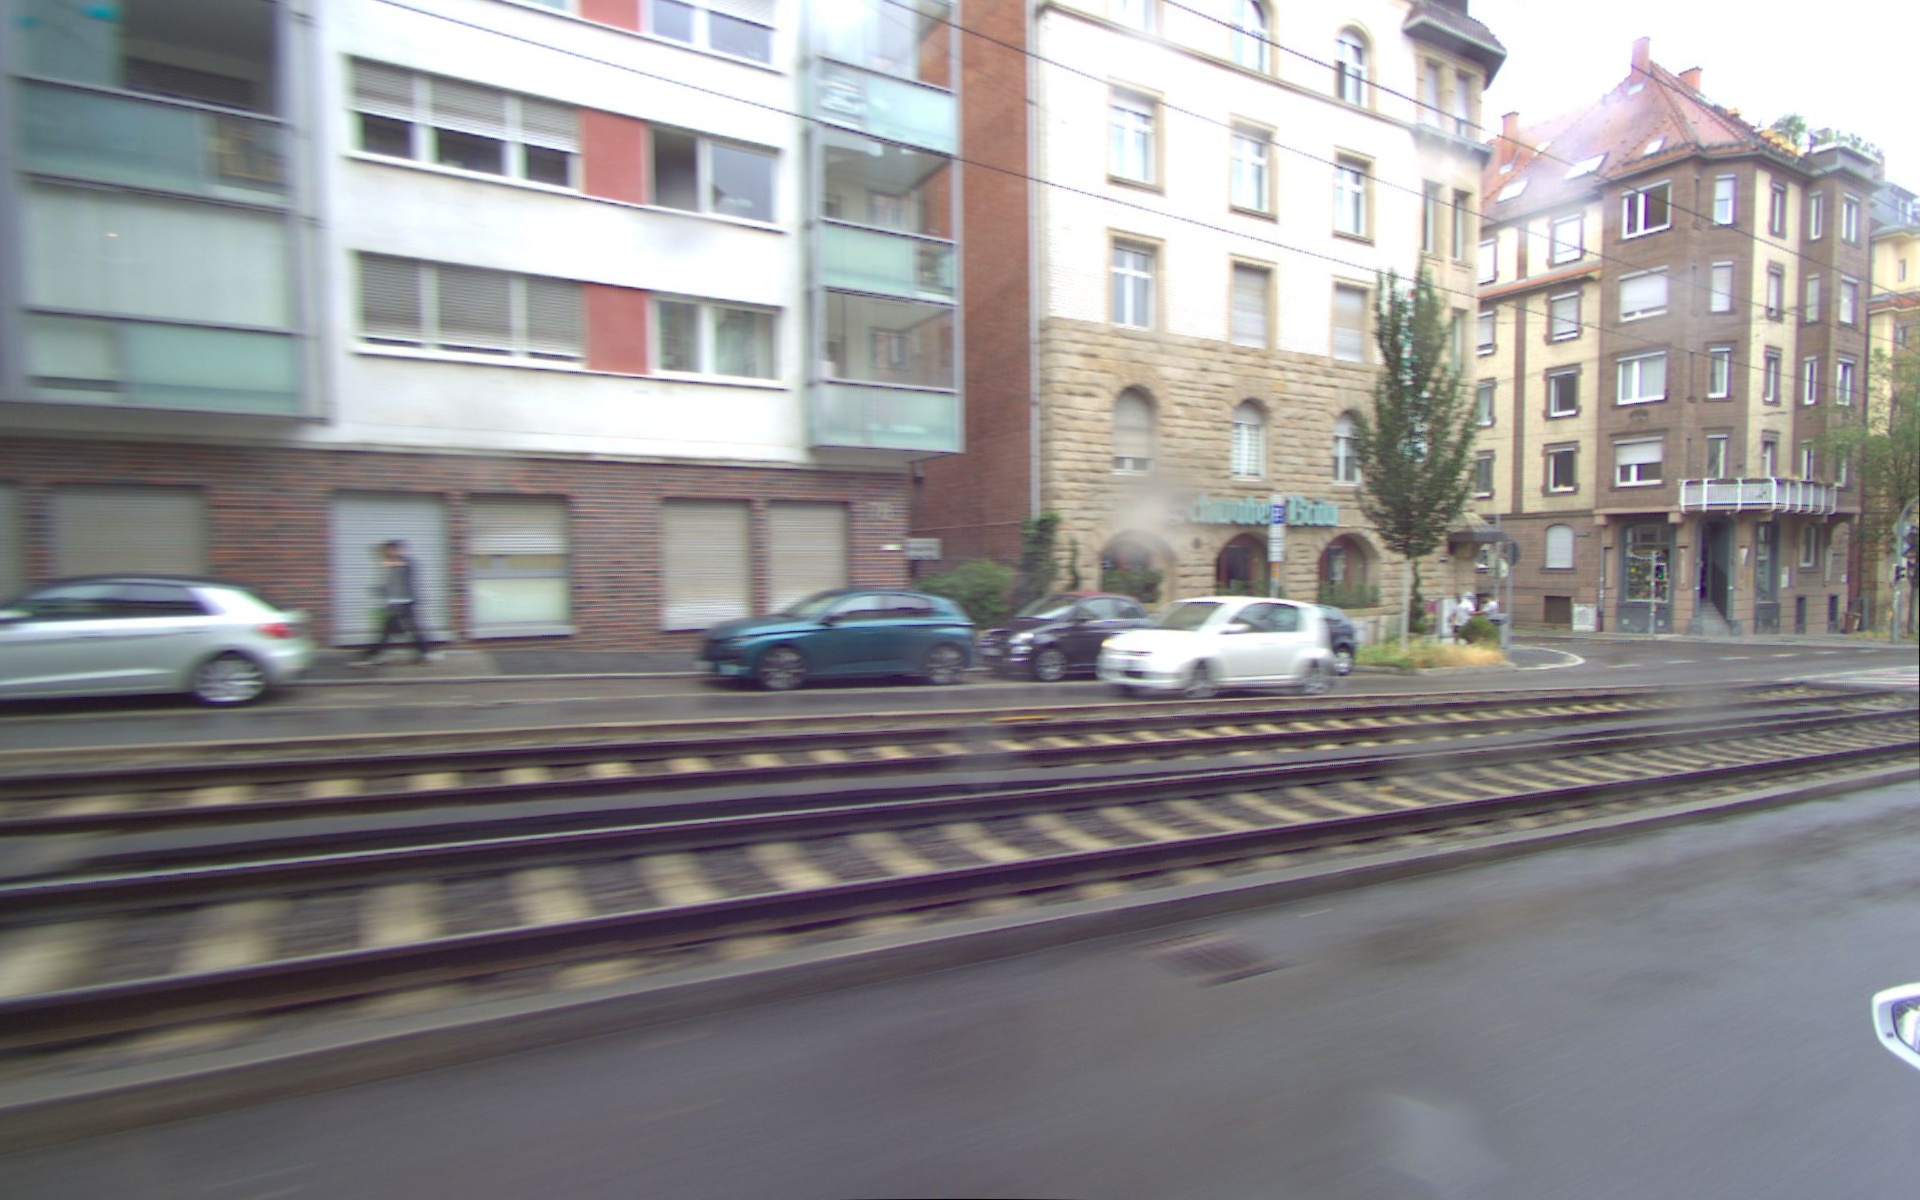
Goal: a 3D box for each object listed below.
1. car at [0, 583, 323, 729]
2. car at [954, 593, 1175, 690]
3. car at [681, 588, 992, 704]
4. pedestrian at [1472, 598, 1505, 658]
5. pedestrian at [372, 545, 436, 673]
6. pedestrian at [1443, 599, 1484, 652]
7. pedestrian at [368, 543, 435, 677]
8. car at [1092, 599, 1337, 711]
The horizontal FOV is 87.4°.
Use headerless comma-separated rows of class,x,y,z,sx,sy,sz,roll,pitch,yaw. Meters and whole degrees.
car,-9.389,0.556,10.897,4.082,1.354,1.693,1,3,-31
car,1.858,0.699,17.762,3.485,1.518,1.798,1,1,-31
car,-1.838,0.607,15.399,4.381,1.474,1.791,0,3,-32
pedestrian,14.329,0.751,27.231,0.635,1.591,0.515,1,0,-28
pedestrian,-8.061,0.127,14.565,0.773,1.796,0.670,1,1,-30
pedestrian,13.966,0.703,27.882,0.637,1.441,0.751,1,1,-28
pedestrian,-7.745,0.130,13.925,0.773,1.796,0.670,1,1,-30
car,3.920,0.774,15.334,3.541,1.502,1.618,1,0,-32
